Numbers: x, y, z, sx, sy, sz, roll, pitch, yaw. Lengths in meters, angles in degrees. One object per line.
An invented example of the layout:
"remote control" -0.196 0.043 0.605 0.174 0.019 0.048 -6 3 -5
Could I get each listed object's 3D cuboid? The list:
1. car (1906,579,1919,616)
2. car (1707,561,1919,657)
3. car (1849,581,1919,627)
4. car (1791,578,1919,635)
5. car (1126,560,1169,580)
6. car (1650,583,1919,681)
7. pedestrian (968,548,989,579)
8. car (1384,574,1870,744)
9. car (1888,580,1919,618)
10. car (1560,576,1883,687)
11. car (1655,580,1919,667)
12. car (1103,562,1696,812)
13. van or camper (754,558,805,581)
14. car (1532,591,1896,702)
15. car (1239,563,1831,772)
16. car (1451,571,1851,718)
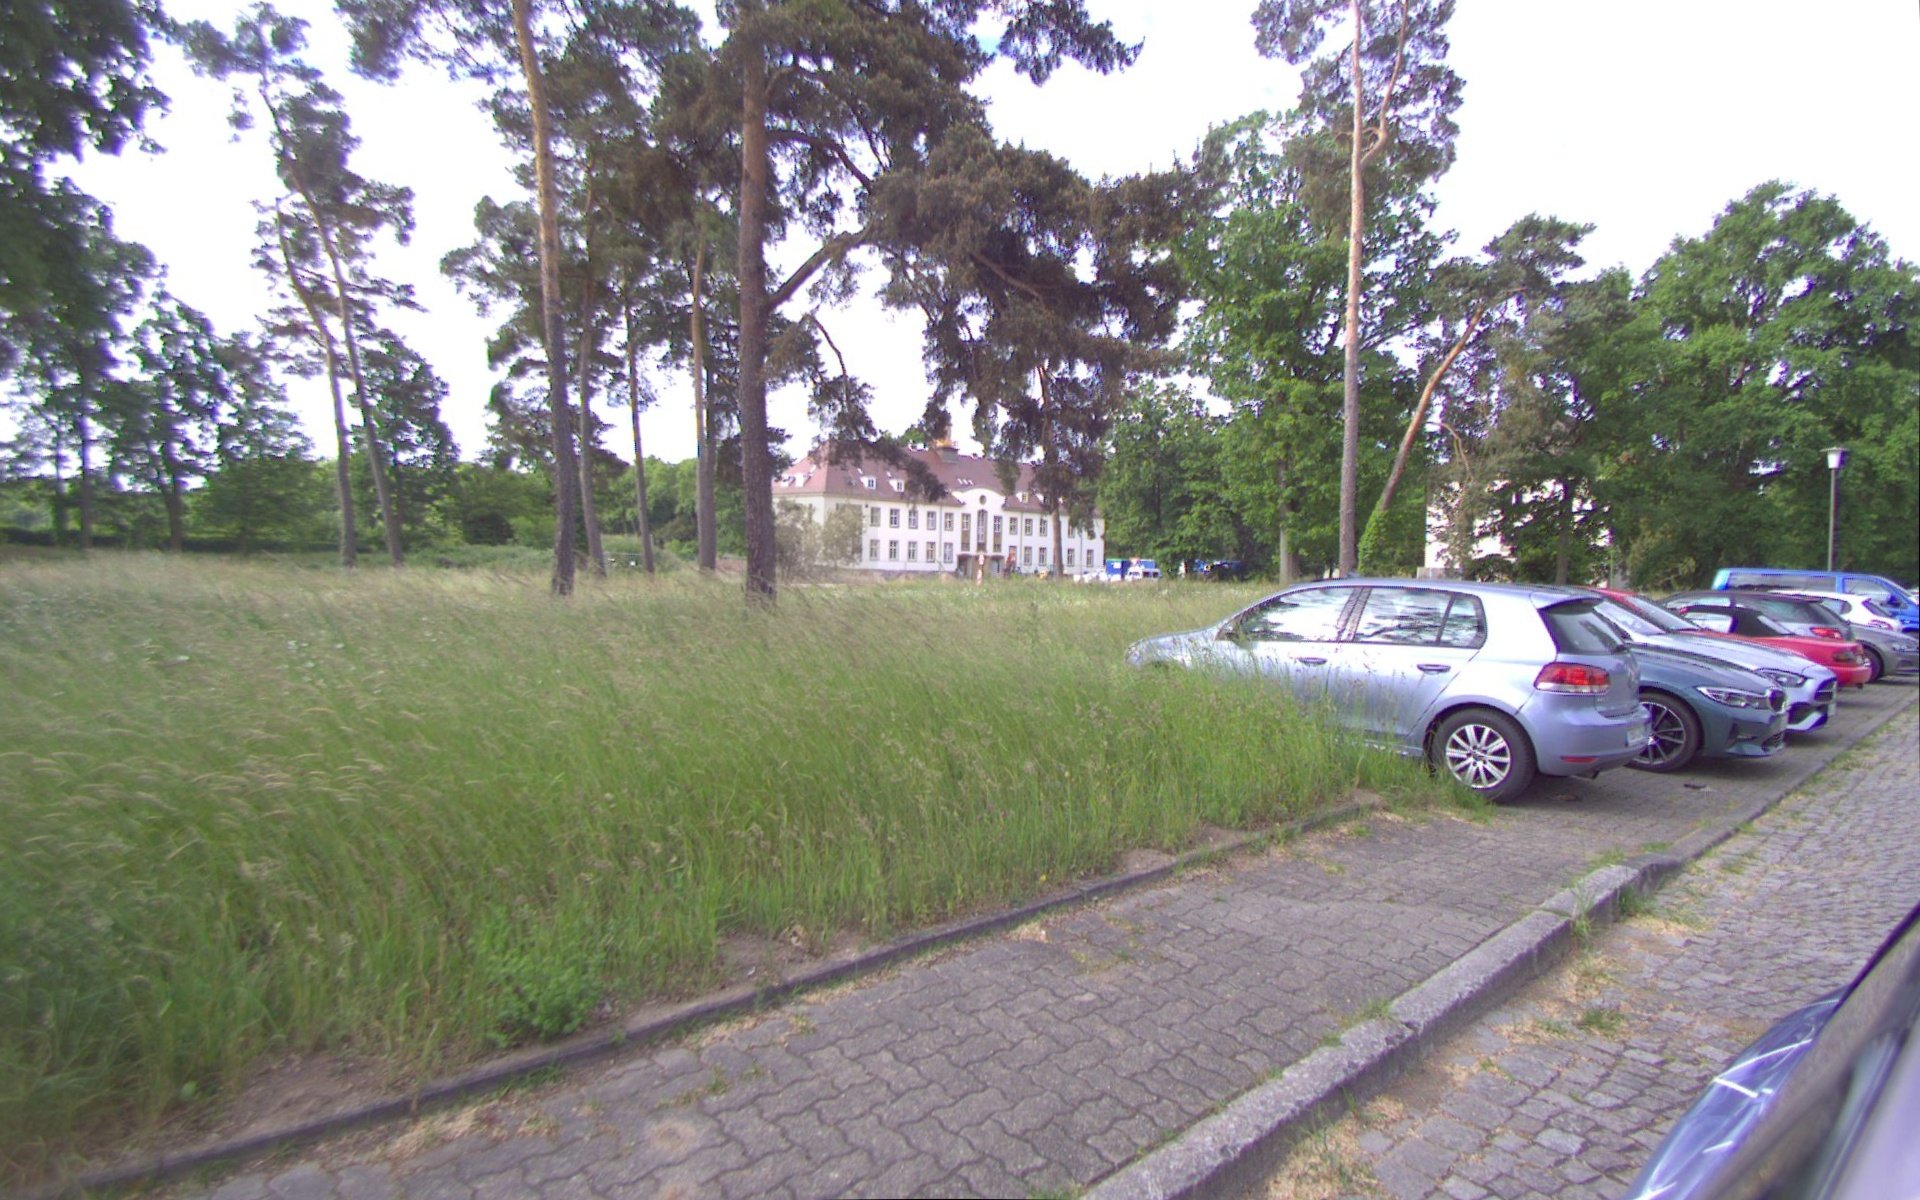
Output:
"car" 45.630 -0.051 45.843 1.964 1.644 3.791 0 3 -40
"car" 20.676 0.154 23.594 1.963 2.038 4.844 0 2 -37
"car" 34.663 0.159 36.304 1.967 1.589 3.991 -1 3 -44
"car" 27.095 0.186 29.590 1.835 1.523 3.997 0 3 -39
"car" 20.180 -3.260 109.093 4.754 2.038 2.163 -1 3 -43
"car" 14.806 0.484 17.933 1.765 1.453 3.931 0 3 -41
"pedestrian" 1.351 -2.640 73.825 1.037 2.204 1.183 0 2 -41
"car" 7.320 0.492 11.518 1.764 1.463 4.268 0 3 -38
"car" 42.228 -0.008 43.046 1.964 1.589 3.791 0 3 -40
"car" 12.403 0.413 16.689 1.765 1.494 3.932 0 3 -40
"car" 16.637 0.384 20.449 1.765 1.467 3.931 0 3 -41
"car" 3.247 0.456 8.138 1.765 1.436 3.996 0 3 -40
"van or camper" -19.548 -3.293 109.270 2.424 2.335 6.115 0 3 -43
"car" 10.773 0.560 14.690 1.765 1.249 3.932 0 3 -40
"car" 5.203 0.426 9.771 1.765 1.463 4.628 0 3 -41
"car" 8.806 0.442 13.184 1.764 1.531 3.934 0 3 -38
